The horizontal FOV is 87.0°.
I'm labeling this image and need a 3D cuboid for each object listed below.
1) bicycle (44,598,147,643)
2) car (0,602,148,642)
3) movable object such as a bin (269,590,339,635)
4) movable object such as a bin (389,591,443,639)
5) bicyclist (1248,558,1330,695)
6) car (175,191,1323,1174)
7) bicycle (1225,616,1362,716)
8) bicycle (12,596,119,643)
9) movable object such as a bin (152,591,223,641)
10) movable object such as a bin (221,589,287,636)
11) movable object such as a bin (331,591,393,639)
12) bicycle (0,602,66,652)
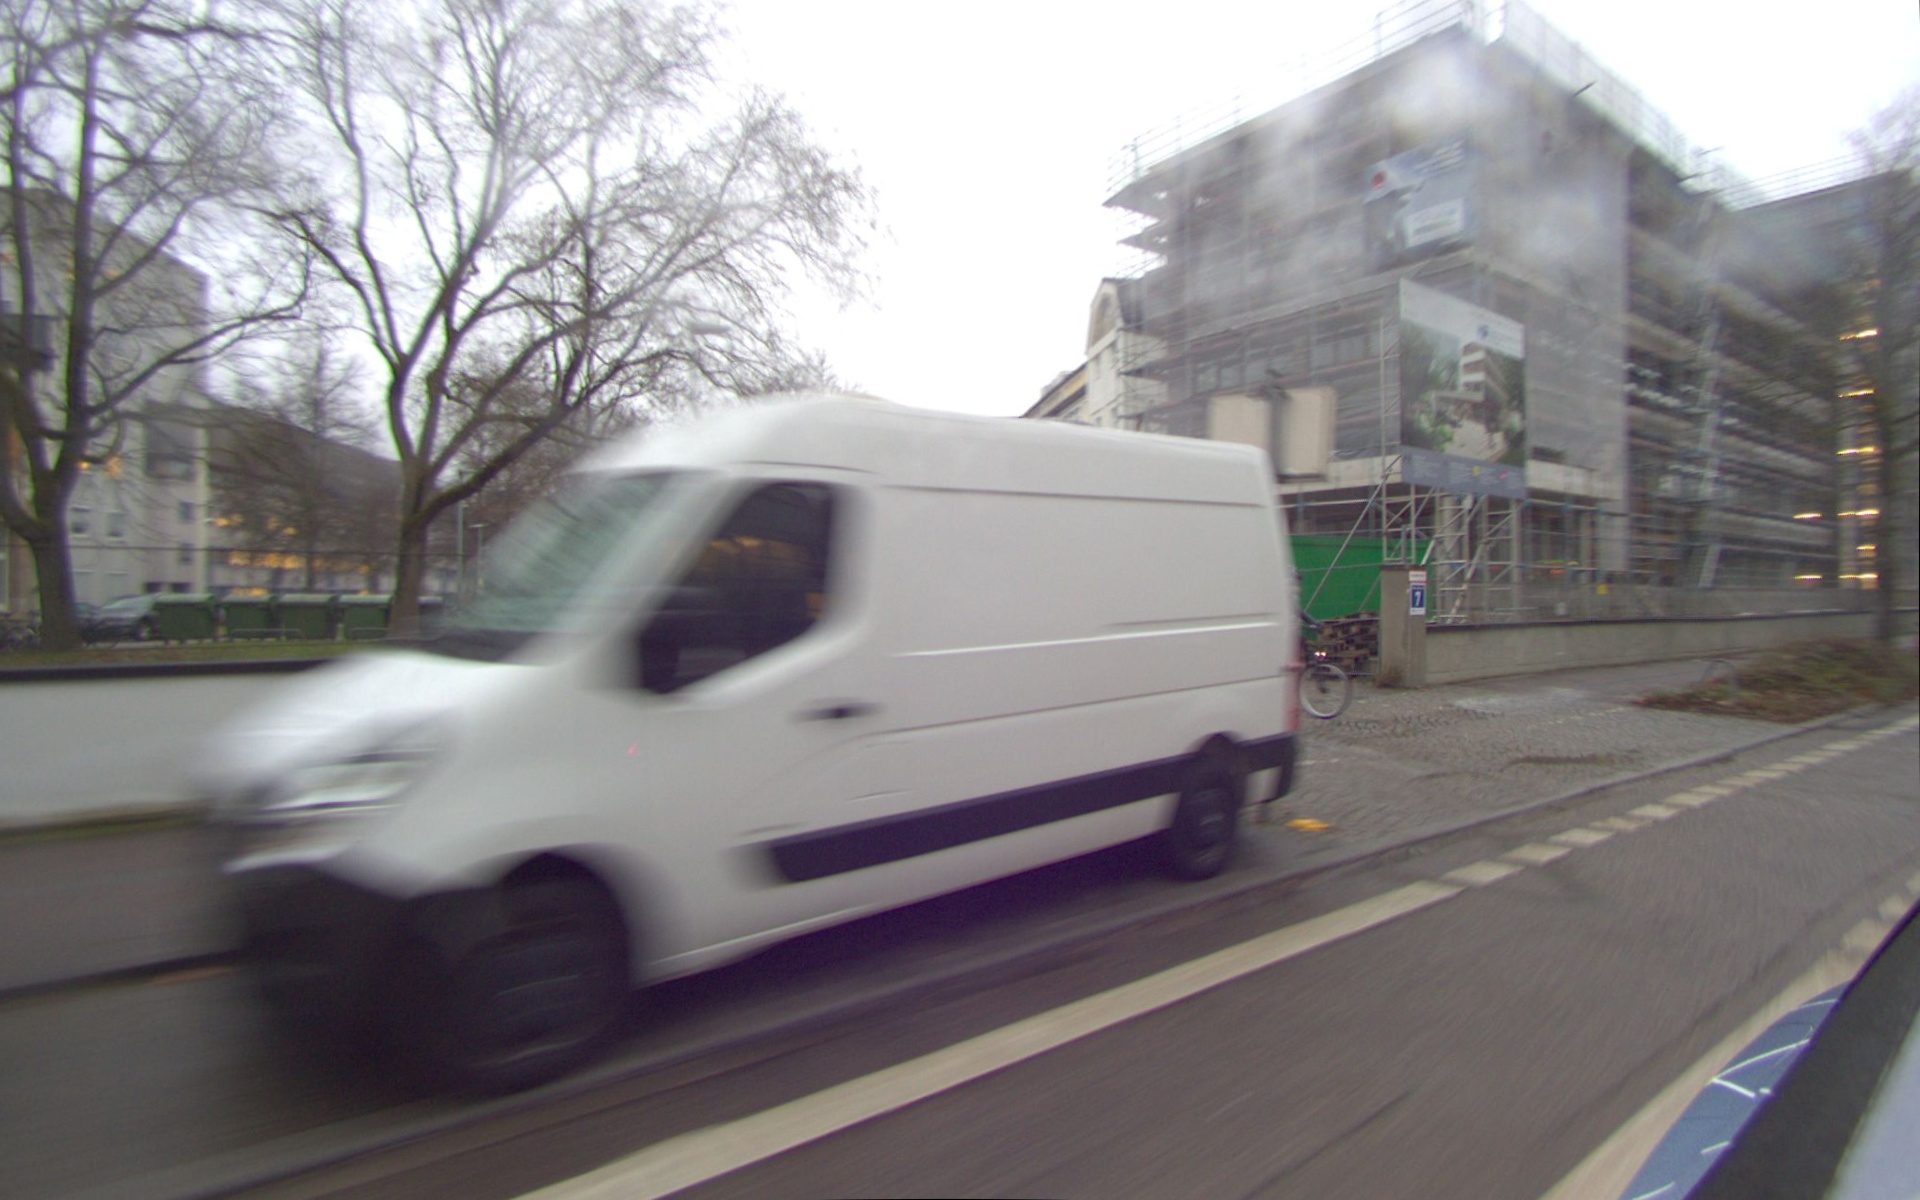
[{"bbox_3d":[-22.932,0.539,26.863,2.098,1.172,0.574,1,0,-7],"label":"bicycle"},{"bbox_3d":[-31.013,0.723,35.516,1.960,1.297,4.003,1,0,-4],"label":"car"},{"bbox_3d":[-18.468,0.351,28.536,1.408,1.240,0.990,1,0,-14],"label":"movable object such as a bin"},{"bbox_3d":[-15.638,0.428,29.121,1.297,1.333,1.065,2,-1,-27],"label":"movable object such as a bin"},{"bbox_3d":[4.257,0.333,13.126,0.692,1.711,0.773,1,0,-17],"label":"bicyclist"},{"bbox_3d":[-0.562,0.227,5.150,5.342,2.519,2.128,0,-2,-40],"label":"car"},{"bbox_3d":[4.254,0.805,13.090,0.715,1.147,1.898,1,0,-17],"label":"bicycle"},{"bbox_3d":[-22.851,0.493,25.884,2.098,1.172,0.574,1,0,-7],"label":"bicycle"},{"bbox_3d":[-21.133,0.439,27.720,1.237,1.330,0.990,1,0,-14],"label":"movable object such as a bin"},{"bbox_3d":[-19.827,0.355,28.437,1.225,1.296,0.990,1,0,-14],"label":"movable object such as a bin"},{"bbox_3d":[-16.996,0.421,28.792,1.280,1.330,0.990,1,0,-14],"label":"movable object such as a bin"},{"bbox_3d":[-22.606,0.637,24.027,2.098,1.172,0.574,1,0,-7],"label":"bicycle"}]
